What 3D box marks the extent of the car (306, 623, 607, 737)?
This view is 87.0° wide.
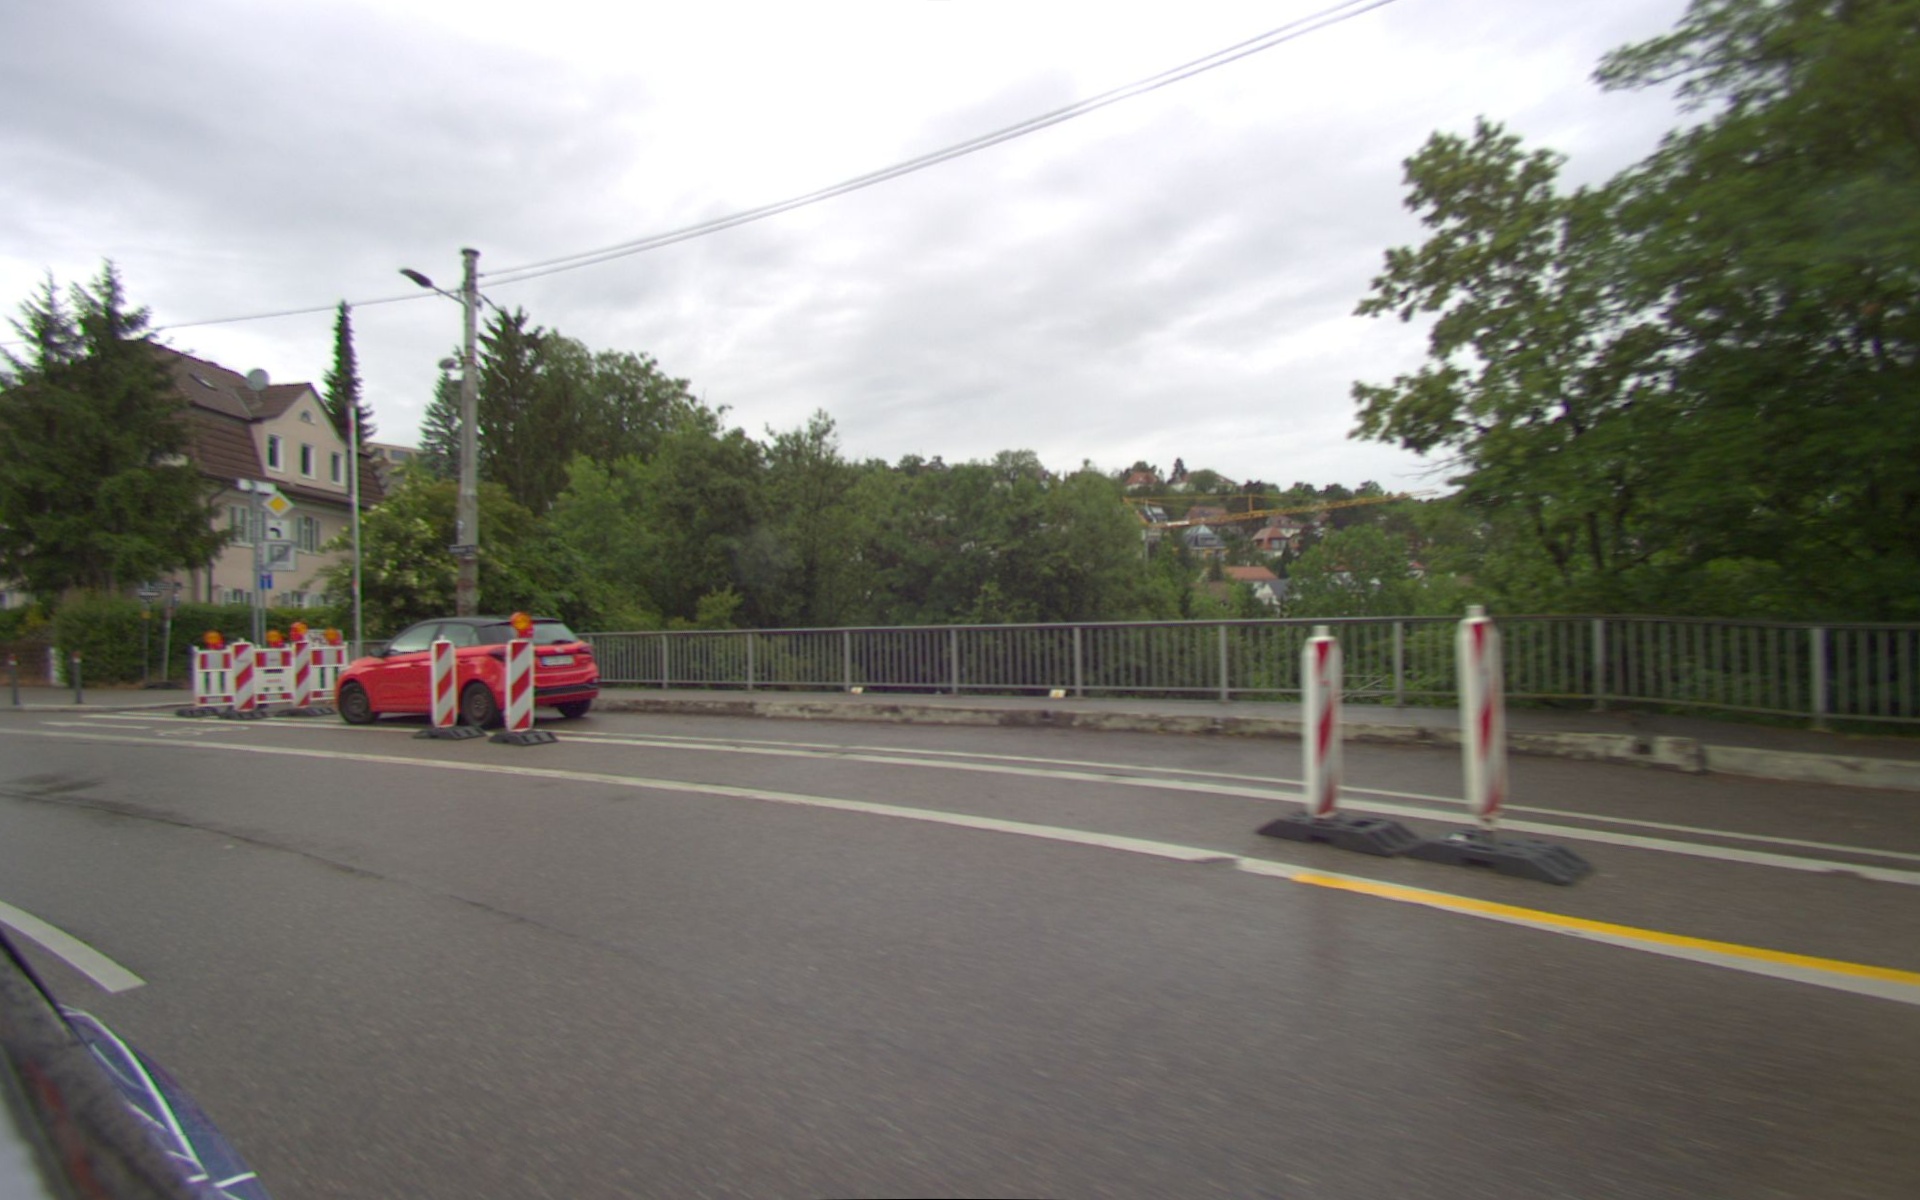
[{"bbox_3d":[-7.107,1.038,14.234,4.115,1.409,1.676,-1,-2,27],"label":"car"}]
